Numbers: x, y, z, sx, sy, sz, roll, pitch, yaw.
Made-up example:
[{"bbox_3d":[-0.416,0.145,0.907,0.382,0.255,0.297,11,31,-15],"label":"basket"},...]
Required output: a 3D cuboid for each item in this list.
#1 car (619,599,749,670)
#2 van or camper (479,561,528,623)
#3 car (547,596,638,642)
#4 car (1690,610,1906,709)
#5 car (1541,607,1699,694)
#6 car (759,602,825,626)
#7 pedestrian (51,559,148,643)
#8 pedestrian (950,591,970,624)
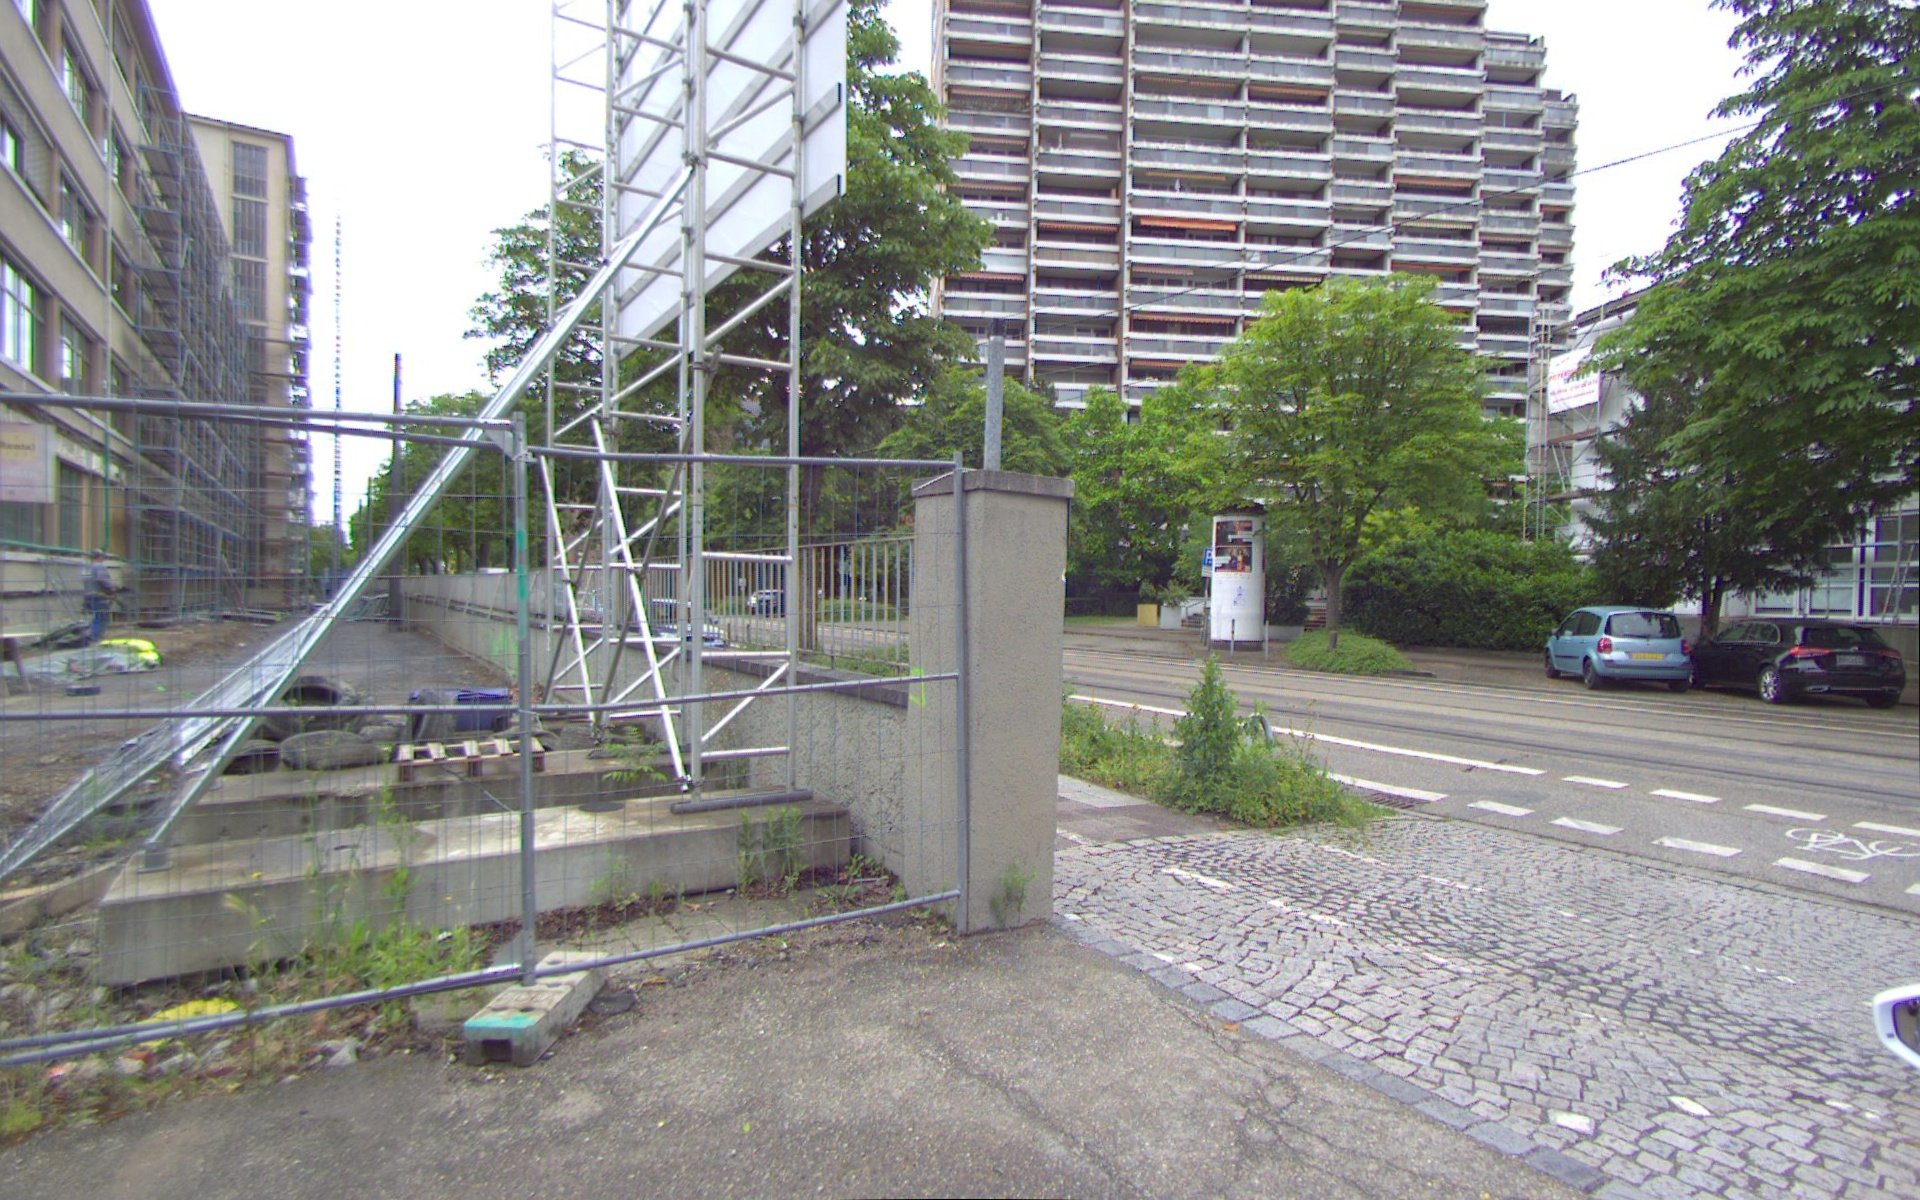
[{"bbox_3d":[-6.413,0.736,23.043,1.813,1.437,3.965,1,0,-32],"label":"car"},{"bbox_3d":[-21.657,-0.369,47.565,1.974,2.789,3.973,1,0,-26],"label":"van or camper"},{"bbox_3d":[-11.817,0.566,32.142,1.978,1.327,3.965,1,0,-32],"label":"car"},{"bbox_3d":[14.569,0.971,17.699,1.586,1.531,3.339,1,0,13],"label":"car"},{"bbox_3d":[13.141,0.936,20.218,1.586,1.557,3.339,1,0,13],"label":"car"},{"bbox_3d":[-9.492,0.794,56.903,3.523,1.222,1.505,1,0,-2],"label":"car"},{"bbox_3d":[-15.588,0.019,18.230,0.913,1.457,0.982,1,0,-7],"label":"pedestrian"},{"bbox_3d":[0.005,0.347,48.300,0.838,1.548,0.515,1,1,-44],"label":"pedestrian"}]
